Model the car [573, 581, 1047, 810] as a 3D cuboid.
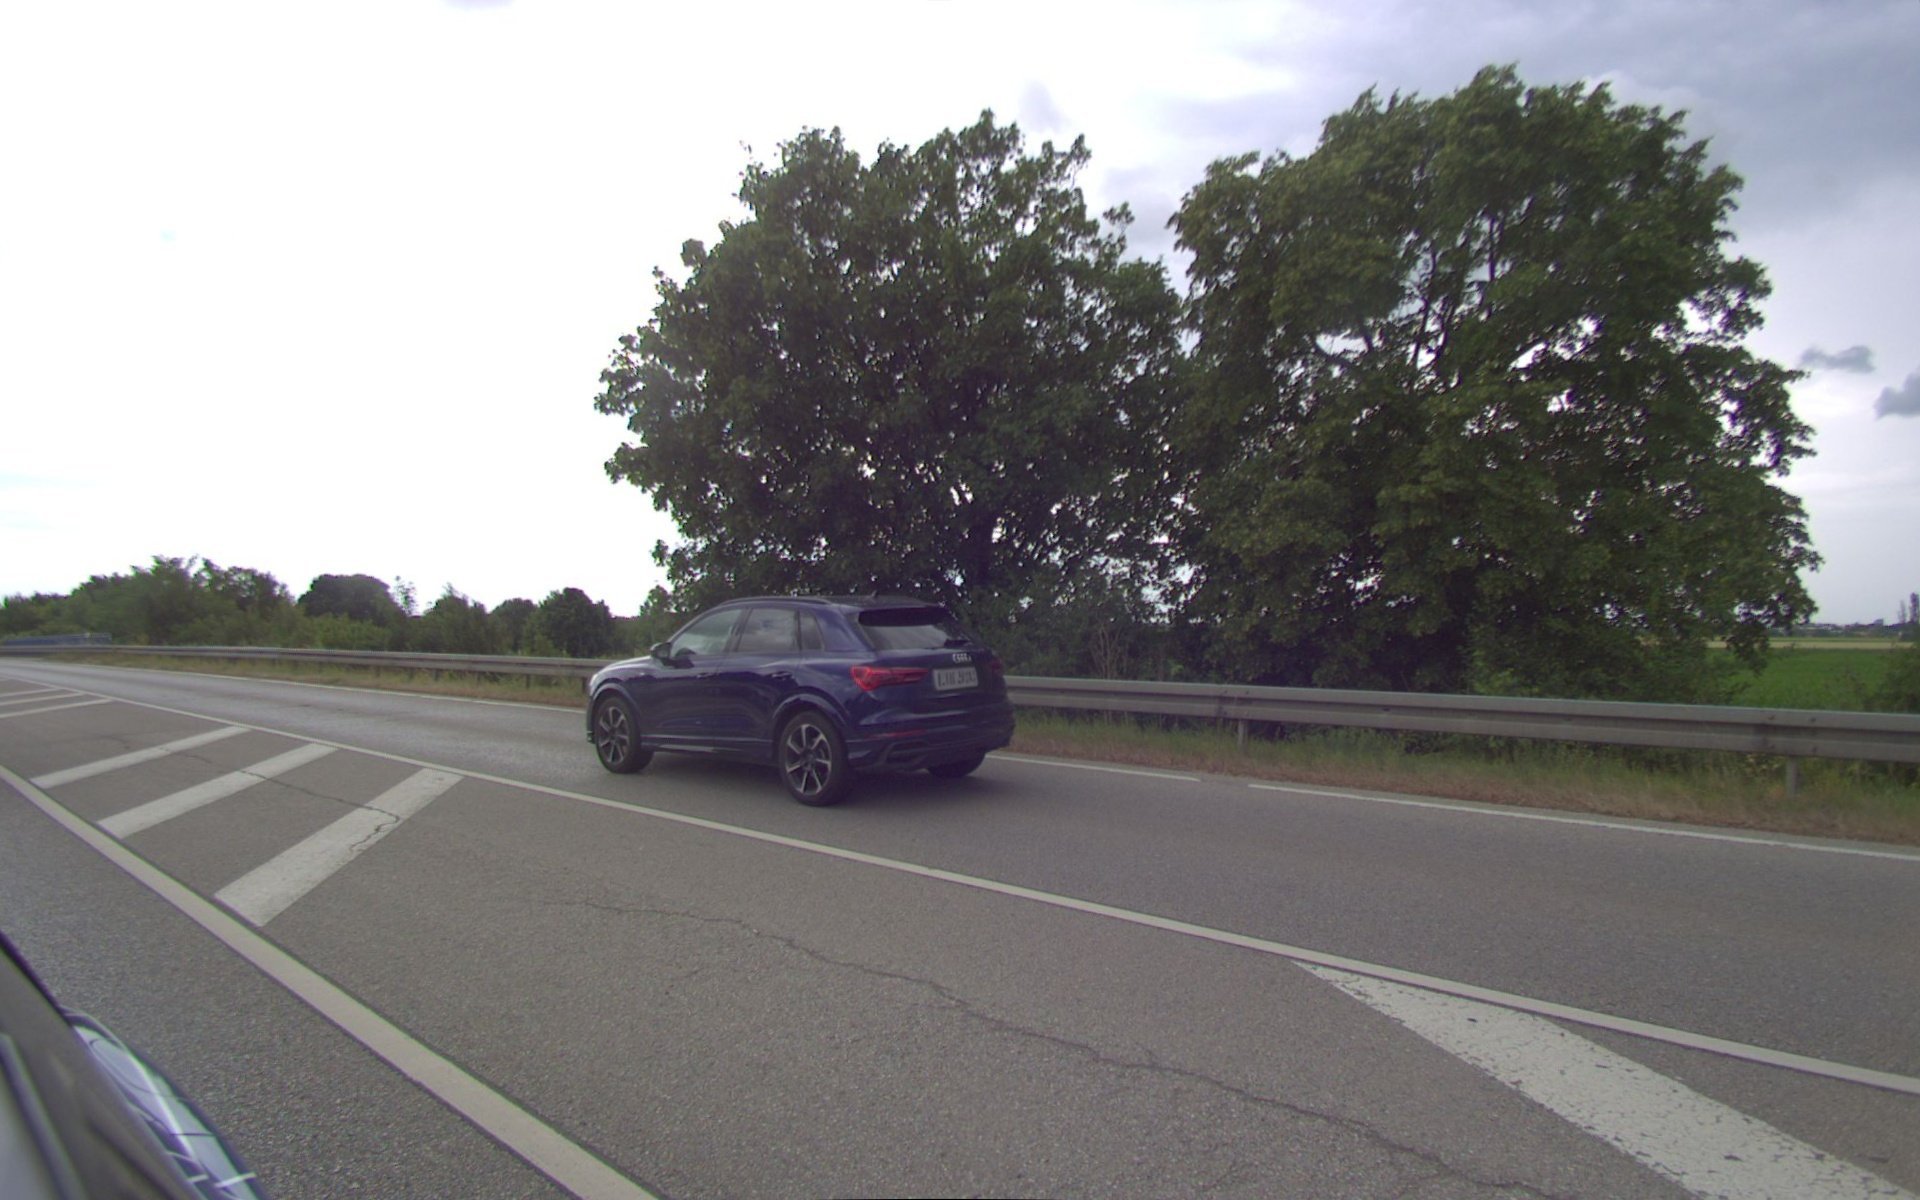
[{"bbox_3d":[-1.469,0.687,8.793,4.205,1.530,1.693,-2,-1,40],"label":"car"}]
